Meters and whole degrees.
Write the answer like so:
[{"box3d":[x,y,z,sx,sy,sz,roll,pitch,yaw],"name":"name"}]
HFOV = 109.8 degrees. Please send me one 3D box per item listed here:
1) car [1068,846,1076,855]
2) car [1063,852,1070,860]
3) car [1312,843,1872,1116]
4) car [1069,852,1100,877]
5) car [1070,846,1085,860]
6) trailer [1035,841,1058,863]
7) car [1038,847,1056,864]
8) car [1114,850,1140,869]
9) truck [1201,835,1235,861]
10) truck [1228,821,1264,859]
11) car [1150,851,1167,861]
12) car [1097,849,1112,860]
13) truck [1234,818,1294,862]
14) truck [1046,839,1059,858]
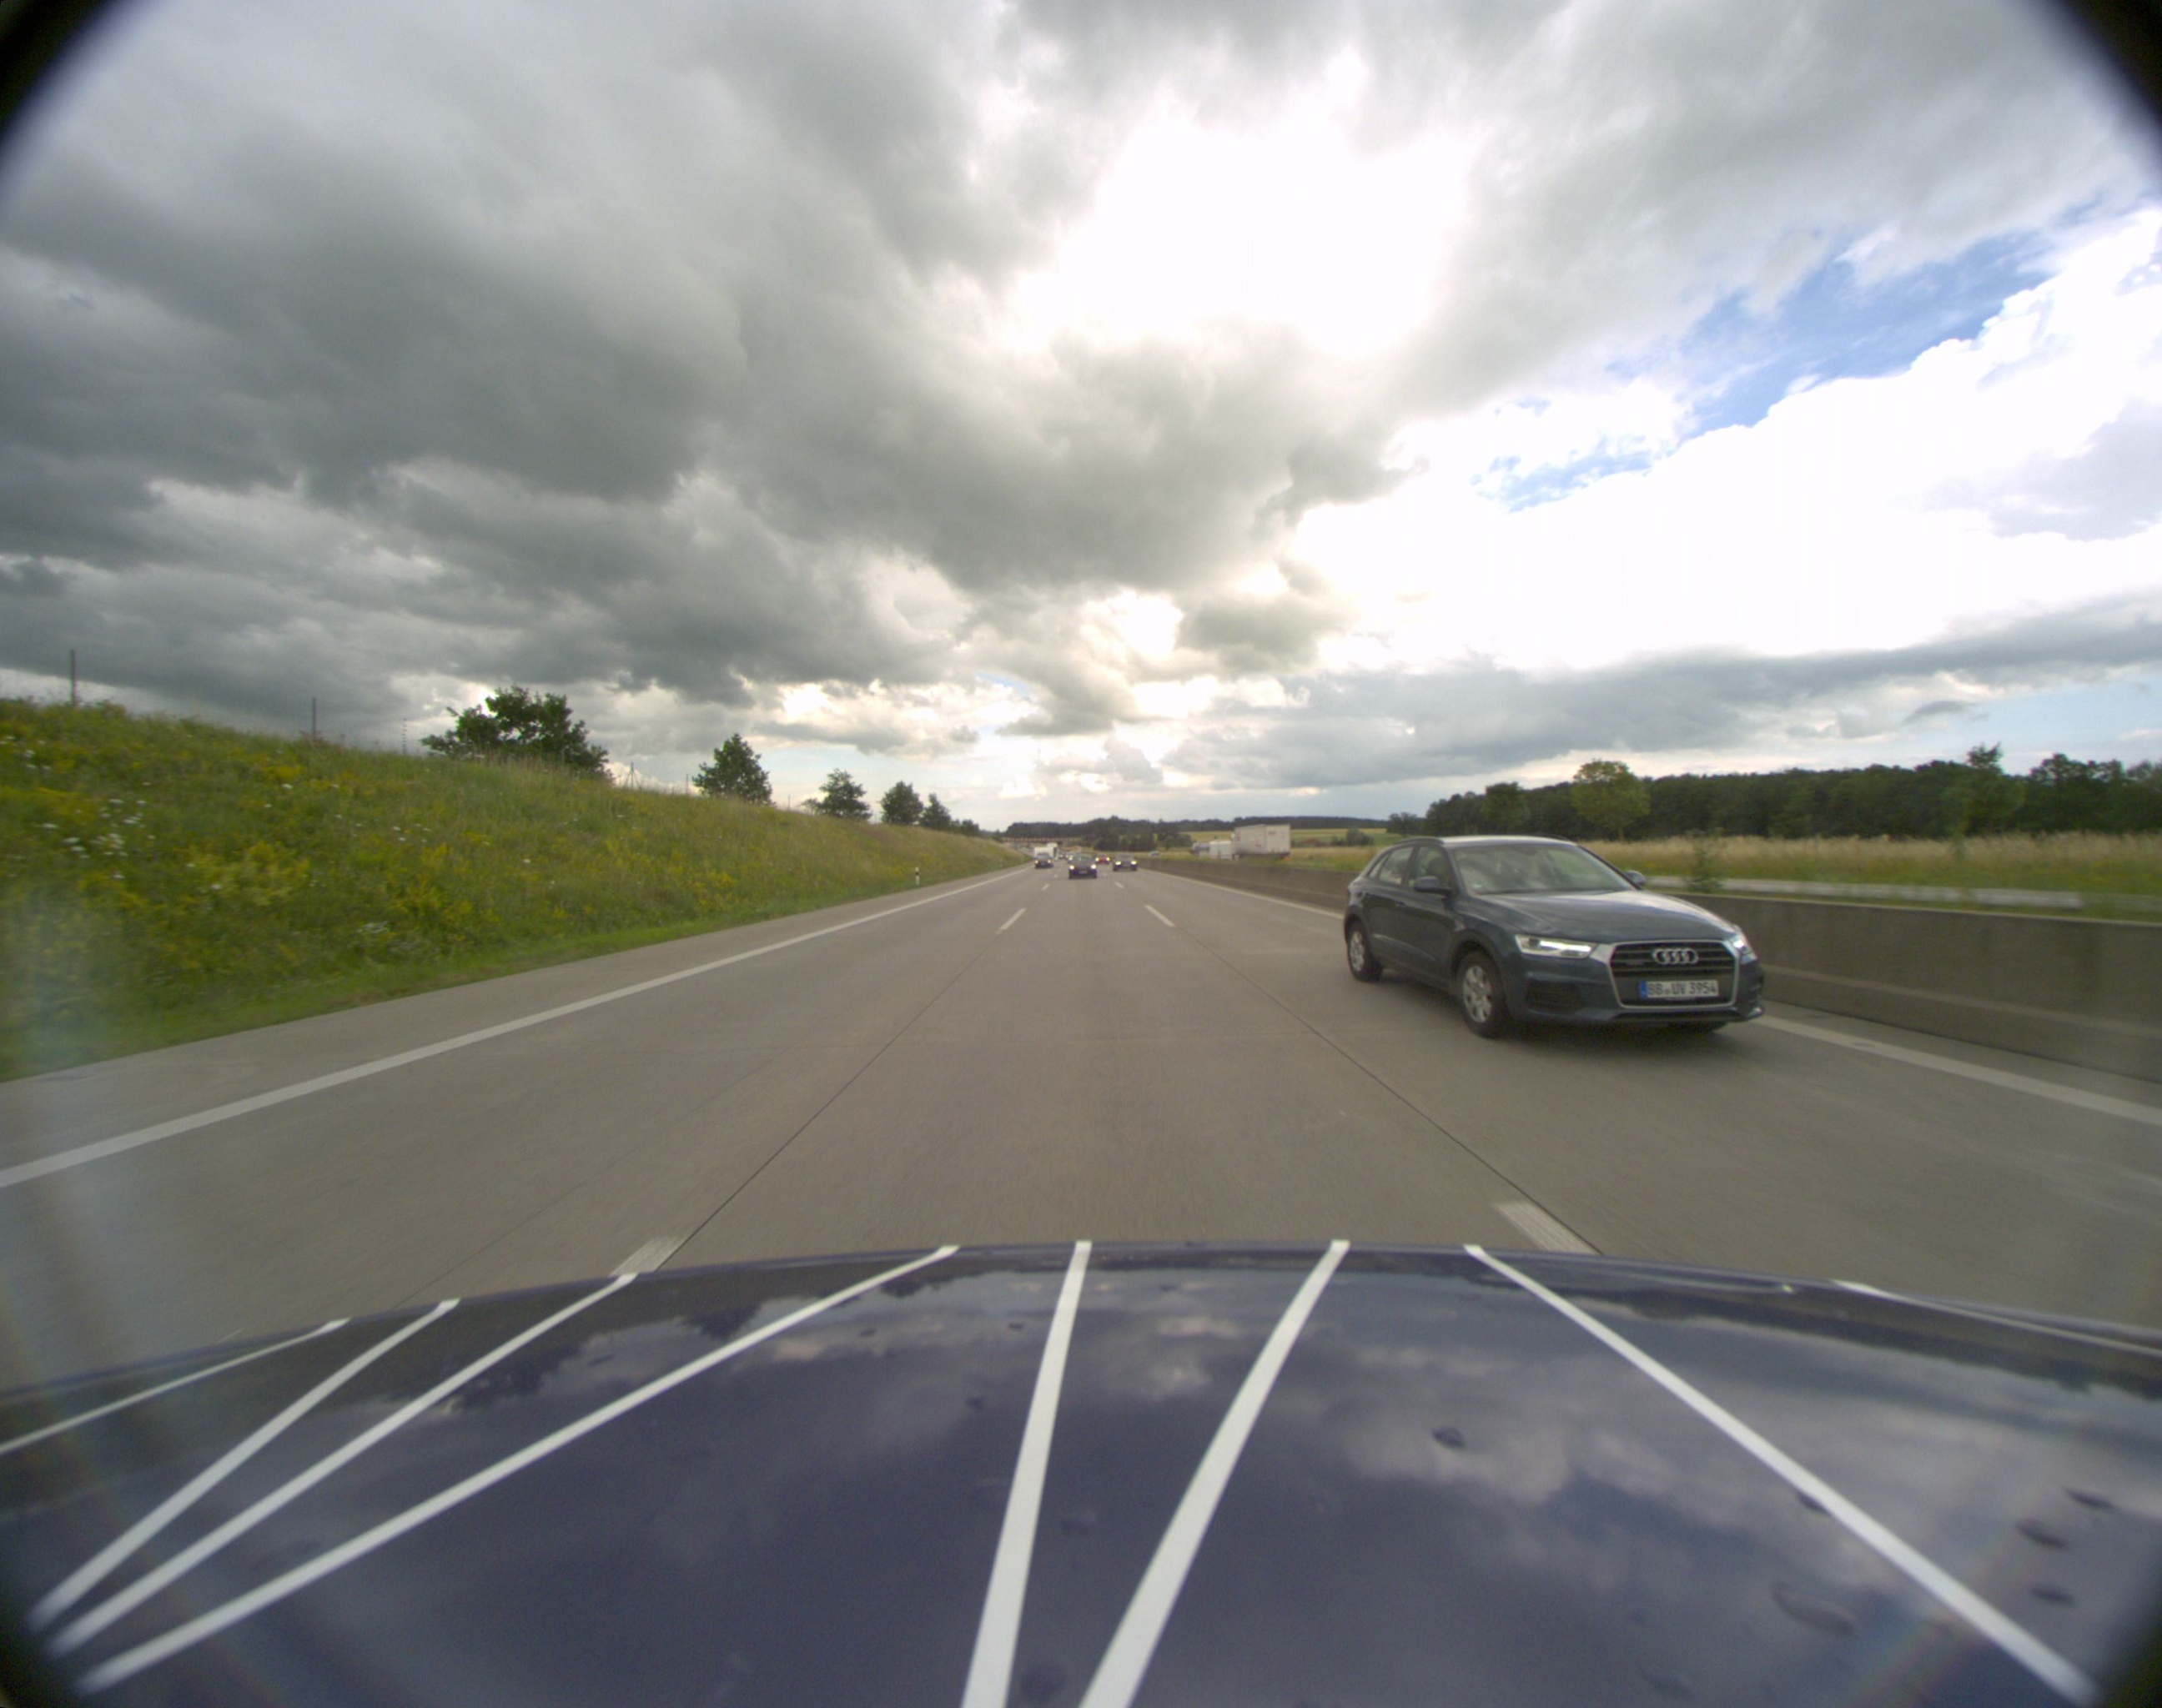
[{"box3d":[-2.140,-0.782,181.909,1.810,2.002,3.841,-3,1,-2],"name":"car"},{"box3d":[-4.060,0.599,210.711,1.999,2.002,3.998,-2,1,-2],"name":"car"},{"box3d":[3.865,0.736,7.154,1.797,1.587,5.156,-2,1,0],"name":"car"},{"box3d":[0.189,0.656,47.618,1.691,1.405,3.998,-2,1,-2],"name":"car"},{"box3d":[-0.567,-0.149,115.397,1.999,2.002,3.998,-2,0,-3],"name":"car"},{"box3d":[-4.111,-0.273,91.954,2.615,2.520,6.719,-2,1,-2],"name":"trailer"},{"box3d":[-3.830,0.190,86.086,1.944,1.799,5.030,-2,1,-2],"name":"car"},{"box3d":[3.780,0.415,62.989,1.939,1.464,4.000,-2,0,1],"name":"car"},{"box3d":[15.390,-0.684,85.741,2.622,2.709,6.918,-2,1,0],"name":"truck"},{"box3d":[19.581,-1.693,90.643,2.848,4.231,6.090,-2,1,0],"name":"truck"},{"box3d":[11.740,0.254,115.771,1.999,1.473,4.211,-2,0,-2],"name":"car"},{"box3d":[3.128,0.088,100.882,1.821,1.364,3.782,-3,1,2],"name":"car"},{"box3d":[19.569,-1.510,82.410,2.848,4.231,14.562,-2,1,0],"name":"truck"},{"box3d":[-6.719,-1.342,180.342,2.855,4.176,10.707,-2,0,-2],"name":"truck"}]
